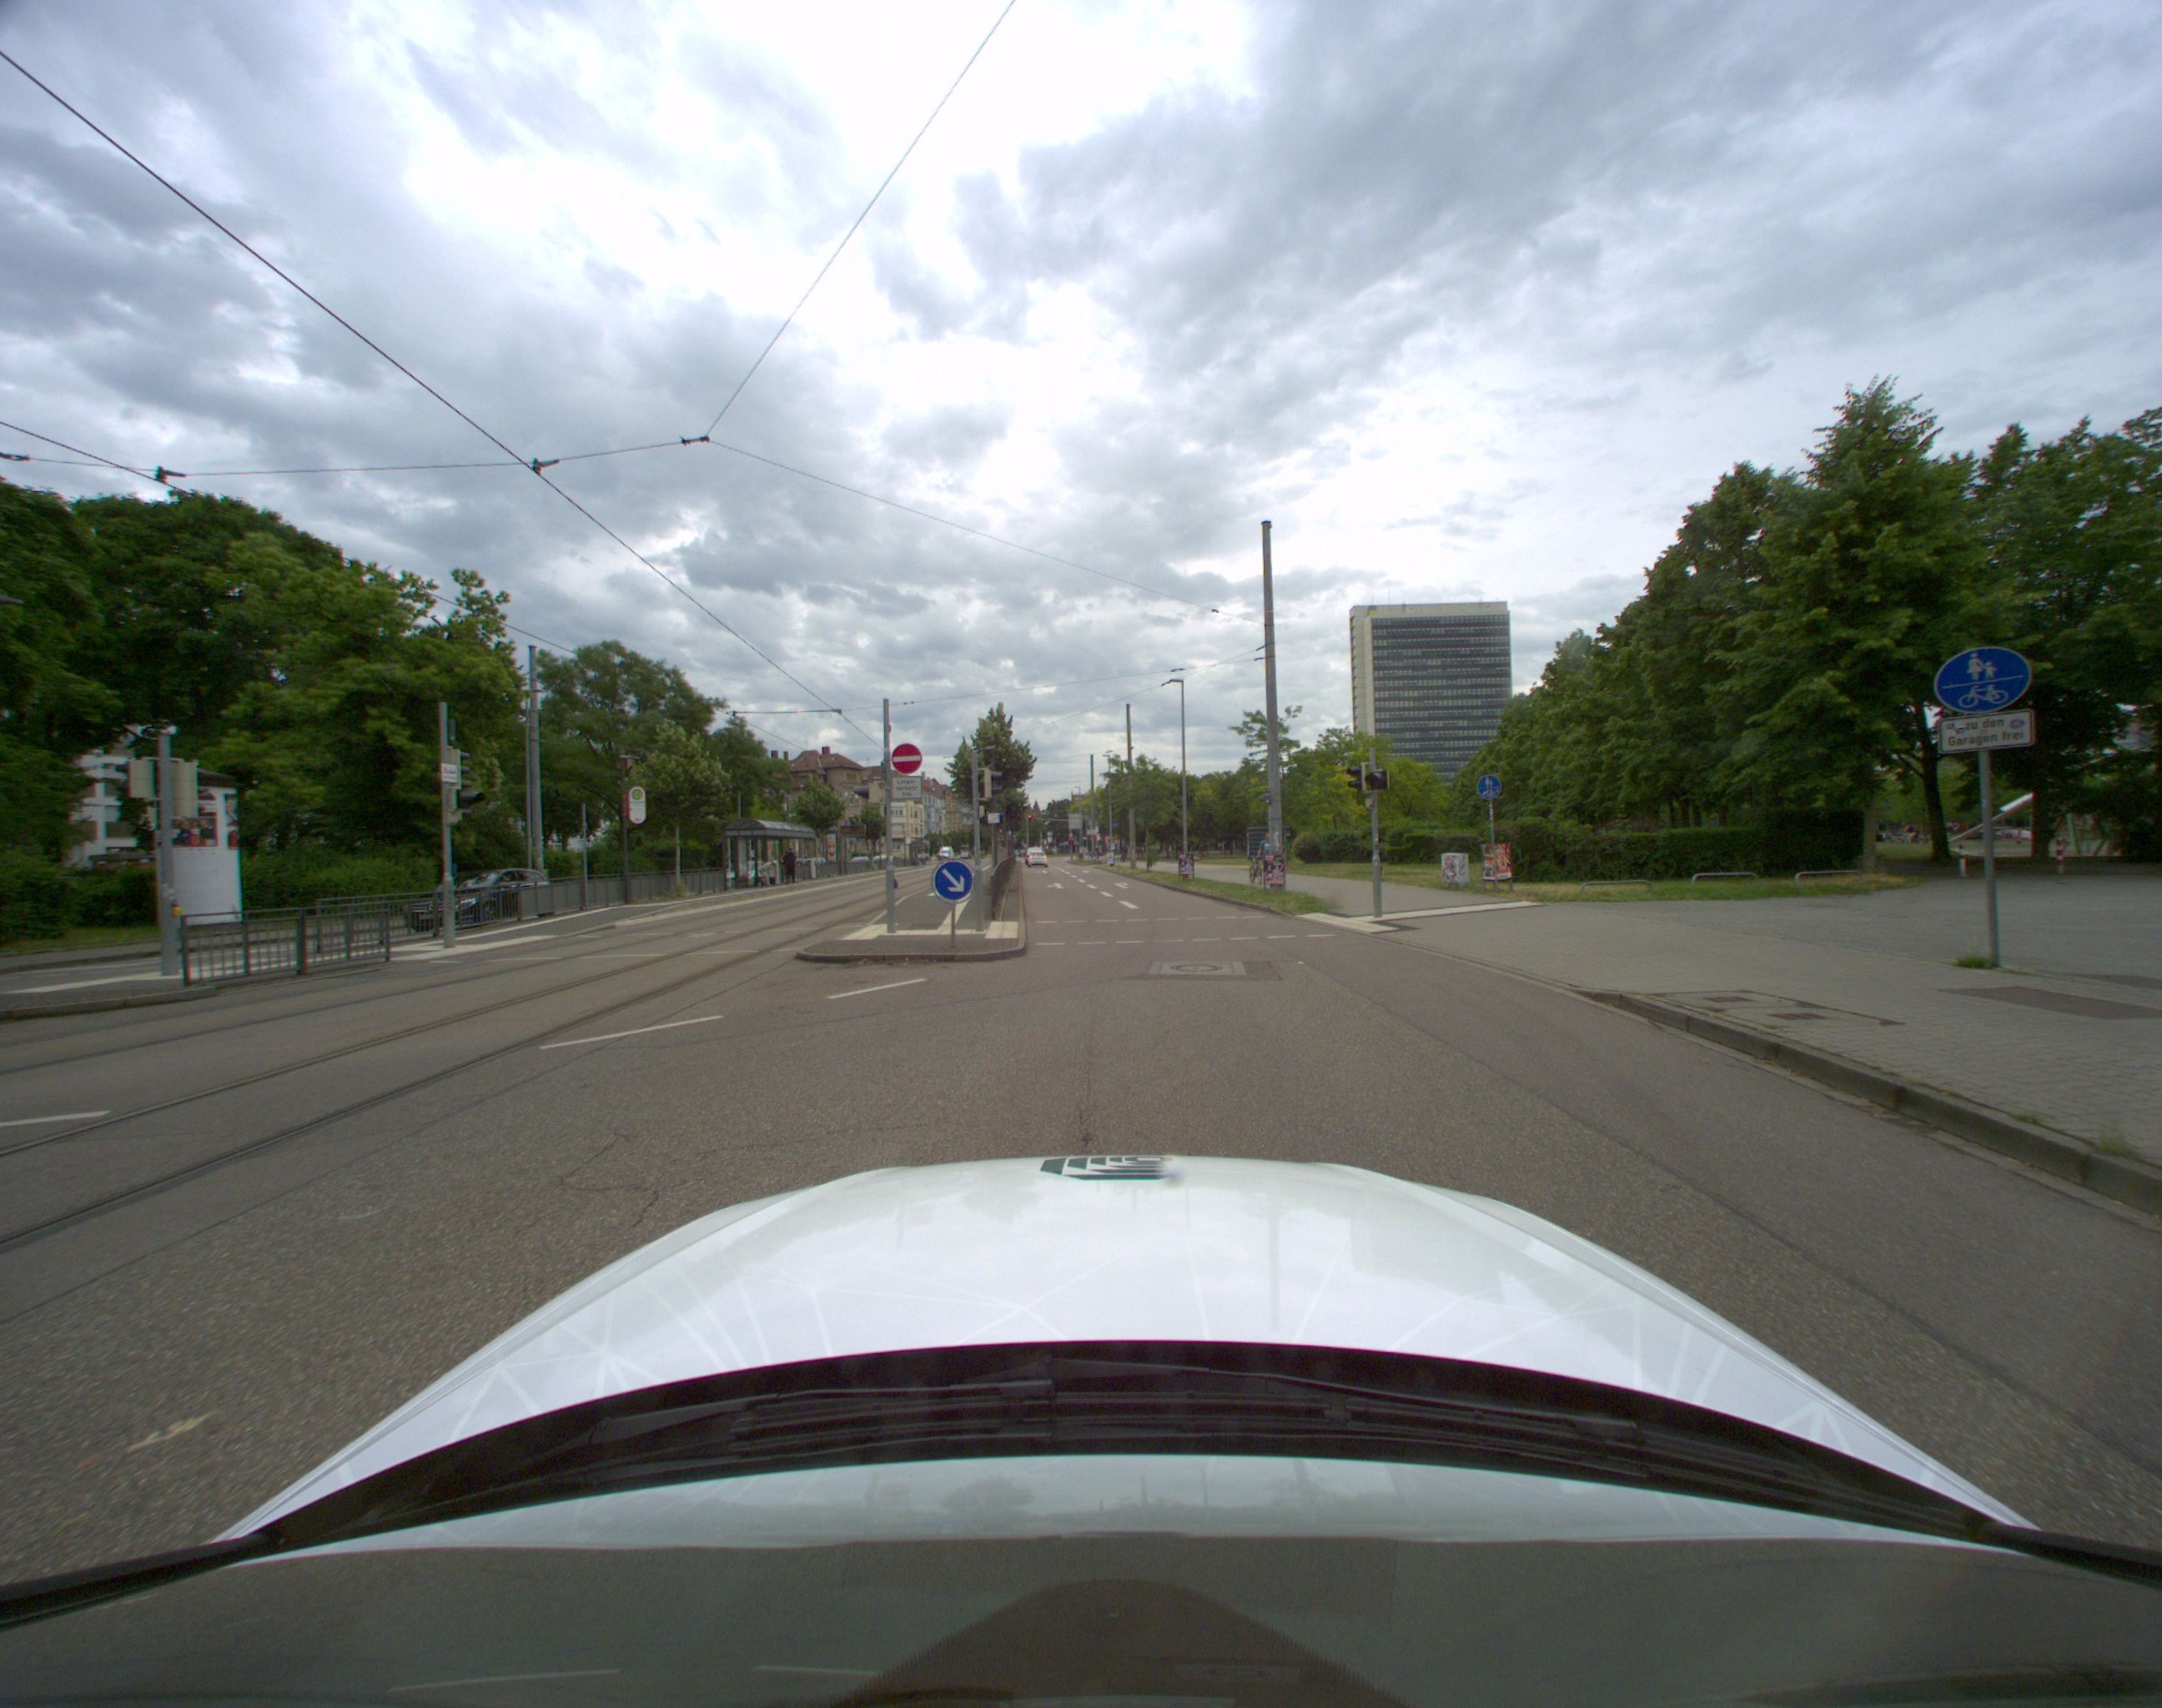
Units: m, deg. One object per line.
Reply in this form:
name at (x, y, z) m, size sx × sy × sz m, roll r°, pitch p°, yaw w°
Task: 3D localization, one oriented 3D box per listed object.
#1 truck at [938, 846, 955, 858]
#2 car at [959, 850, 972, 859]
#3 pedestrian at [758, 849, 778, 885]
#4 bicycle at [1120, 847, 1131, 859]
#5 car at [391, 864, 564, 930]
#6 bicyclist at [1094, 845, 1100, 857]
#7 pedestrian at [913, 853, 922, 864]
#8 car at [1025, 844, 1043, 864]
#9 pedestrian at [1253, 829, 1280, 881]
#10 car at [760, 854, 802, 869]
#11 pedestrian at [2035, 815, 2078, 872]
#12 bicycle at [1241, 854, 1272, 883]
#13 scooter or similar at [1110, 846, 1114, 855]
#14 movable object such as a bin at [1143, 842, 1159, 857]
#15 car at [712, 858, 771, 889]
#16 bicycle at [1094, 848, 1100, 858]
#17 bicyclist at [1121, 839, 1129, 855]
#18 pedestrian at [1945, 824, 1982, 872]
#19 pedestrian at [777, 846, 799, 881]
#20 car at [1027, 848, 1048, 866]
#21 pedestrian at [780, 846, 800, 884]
truck at (-23.754, -0.335, 143.689) m, size 1.781 × 2.032 × 5.398 m, roll -2°, pitch 0°, yaw 2°
car at (-22.453, 0.089, 158.402) m, size 1.763 × 1.493 × 3.889 m, roll -2°, pitch 0°, yaw 2°
pedestrian at (-14.416, 0.579, 37.519) m, size 0.632 × 1.624 × 0.678 m, roll -2°, pitch 0°, yaw -10°
bicycle at (4.325, -0.075, 79.363) m, size 0.679 × 1.154 × 1.892 m, roll -2°, pitch 1°, yaw -9°
car at (-16.193, 1.071, 22.191) m, size 1.769 × 1.493 × 4.525 m, roll -2°, pitch 0°, yaw -8°
bicyclist at (1.840, -0.370, 95.680) m, size 0.677 × 1.379 × 0.727 m, roll -2°, pitch 1°, yaw 0°
pedestrian at (-18.582, 0.524, 92.395) m, size 0.864 × 1.267 × 0.692 m, roll -2°, pitch 1°, yaw -7°
car at (-4.952, 0.013, 85.456) m, size 1.779 × 1.962 × 4.375 m, roll -2°, pitch 1°, yaw -5°
pedestrian at (6.847, 0.042, 30.025) m, size 0.738 × 1.869 × 0.681 m, roll -2°, pitch 0°, yaw -5°
car at (-33.026, 0.807, 89.725) m, size 3.867 × 1.493 × 1.773 m, roll -2°, pitch 0°, yaw -5°
pedestrian at (23.913, -0.264, 19.973) m, size 0.585 × 1.357 × 0.630 m, roll -2°, pitch 1°, yaw 44°
bicycle at (6.517, 0.523, 30.346) m, size 0.653 × 1.003 × 1.776 m, roll -2°, pitch 0°, yaw -4°
scooter or similar at (3.867, -0.457, 102.555) m, size 0.374 × 1.141 × 1.202 m, roll -2°, pitch 0°, yaw 7°
movable object such as a bin at (6.550, -0.393, 76.507) m, size 1.279 × 1.390 × 1.157 m, roll -2°, pitch 0°, yaw -4°
car at (-18.069, 1.017, 43.521) m, size 1.767 × 1.493 × 3.881 m, roll -2°, pitch 0°, yaw -4°
bicycle at (1.862, -0.149, 95.673) m, size 0.677 × 1.154 × 1.898 m, roll -2°, pitch 1°, yaw 0°
bicyclist at (4.289, -0.662, 79.431) m, size 0.679 × 1.537 × 0.671 m, roll -2°, pitch 0°, yaw -9°
pedestrian at (22.218, -0.156, 20.513) m, size 0.585 × 1.183 × 0.630 m, roll -2°, pitch 1°, yaw 44°
pedestrian at (-14.525, 0.451, 40.354) m, size 0.768 × 1.660 × 1.022 m, roll -2°, pitch 0°, yaw -7°
car at (-3.827, 0.247, 72.662) m, size 1.778 × 1.472 × 4.007 m, roll -2°, pitch 1°, yaw -2°
pedestrian at (-13.376, 0.516, 37.483) m, size 0.700 × 1.715 × 0.696 m, roll -2°, pitch 0°, yaw -13°
